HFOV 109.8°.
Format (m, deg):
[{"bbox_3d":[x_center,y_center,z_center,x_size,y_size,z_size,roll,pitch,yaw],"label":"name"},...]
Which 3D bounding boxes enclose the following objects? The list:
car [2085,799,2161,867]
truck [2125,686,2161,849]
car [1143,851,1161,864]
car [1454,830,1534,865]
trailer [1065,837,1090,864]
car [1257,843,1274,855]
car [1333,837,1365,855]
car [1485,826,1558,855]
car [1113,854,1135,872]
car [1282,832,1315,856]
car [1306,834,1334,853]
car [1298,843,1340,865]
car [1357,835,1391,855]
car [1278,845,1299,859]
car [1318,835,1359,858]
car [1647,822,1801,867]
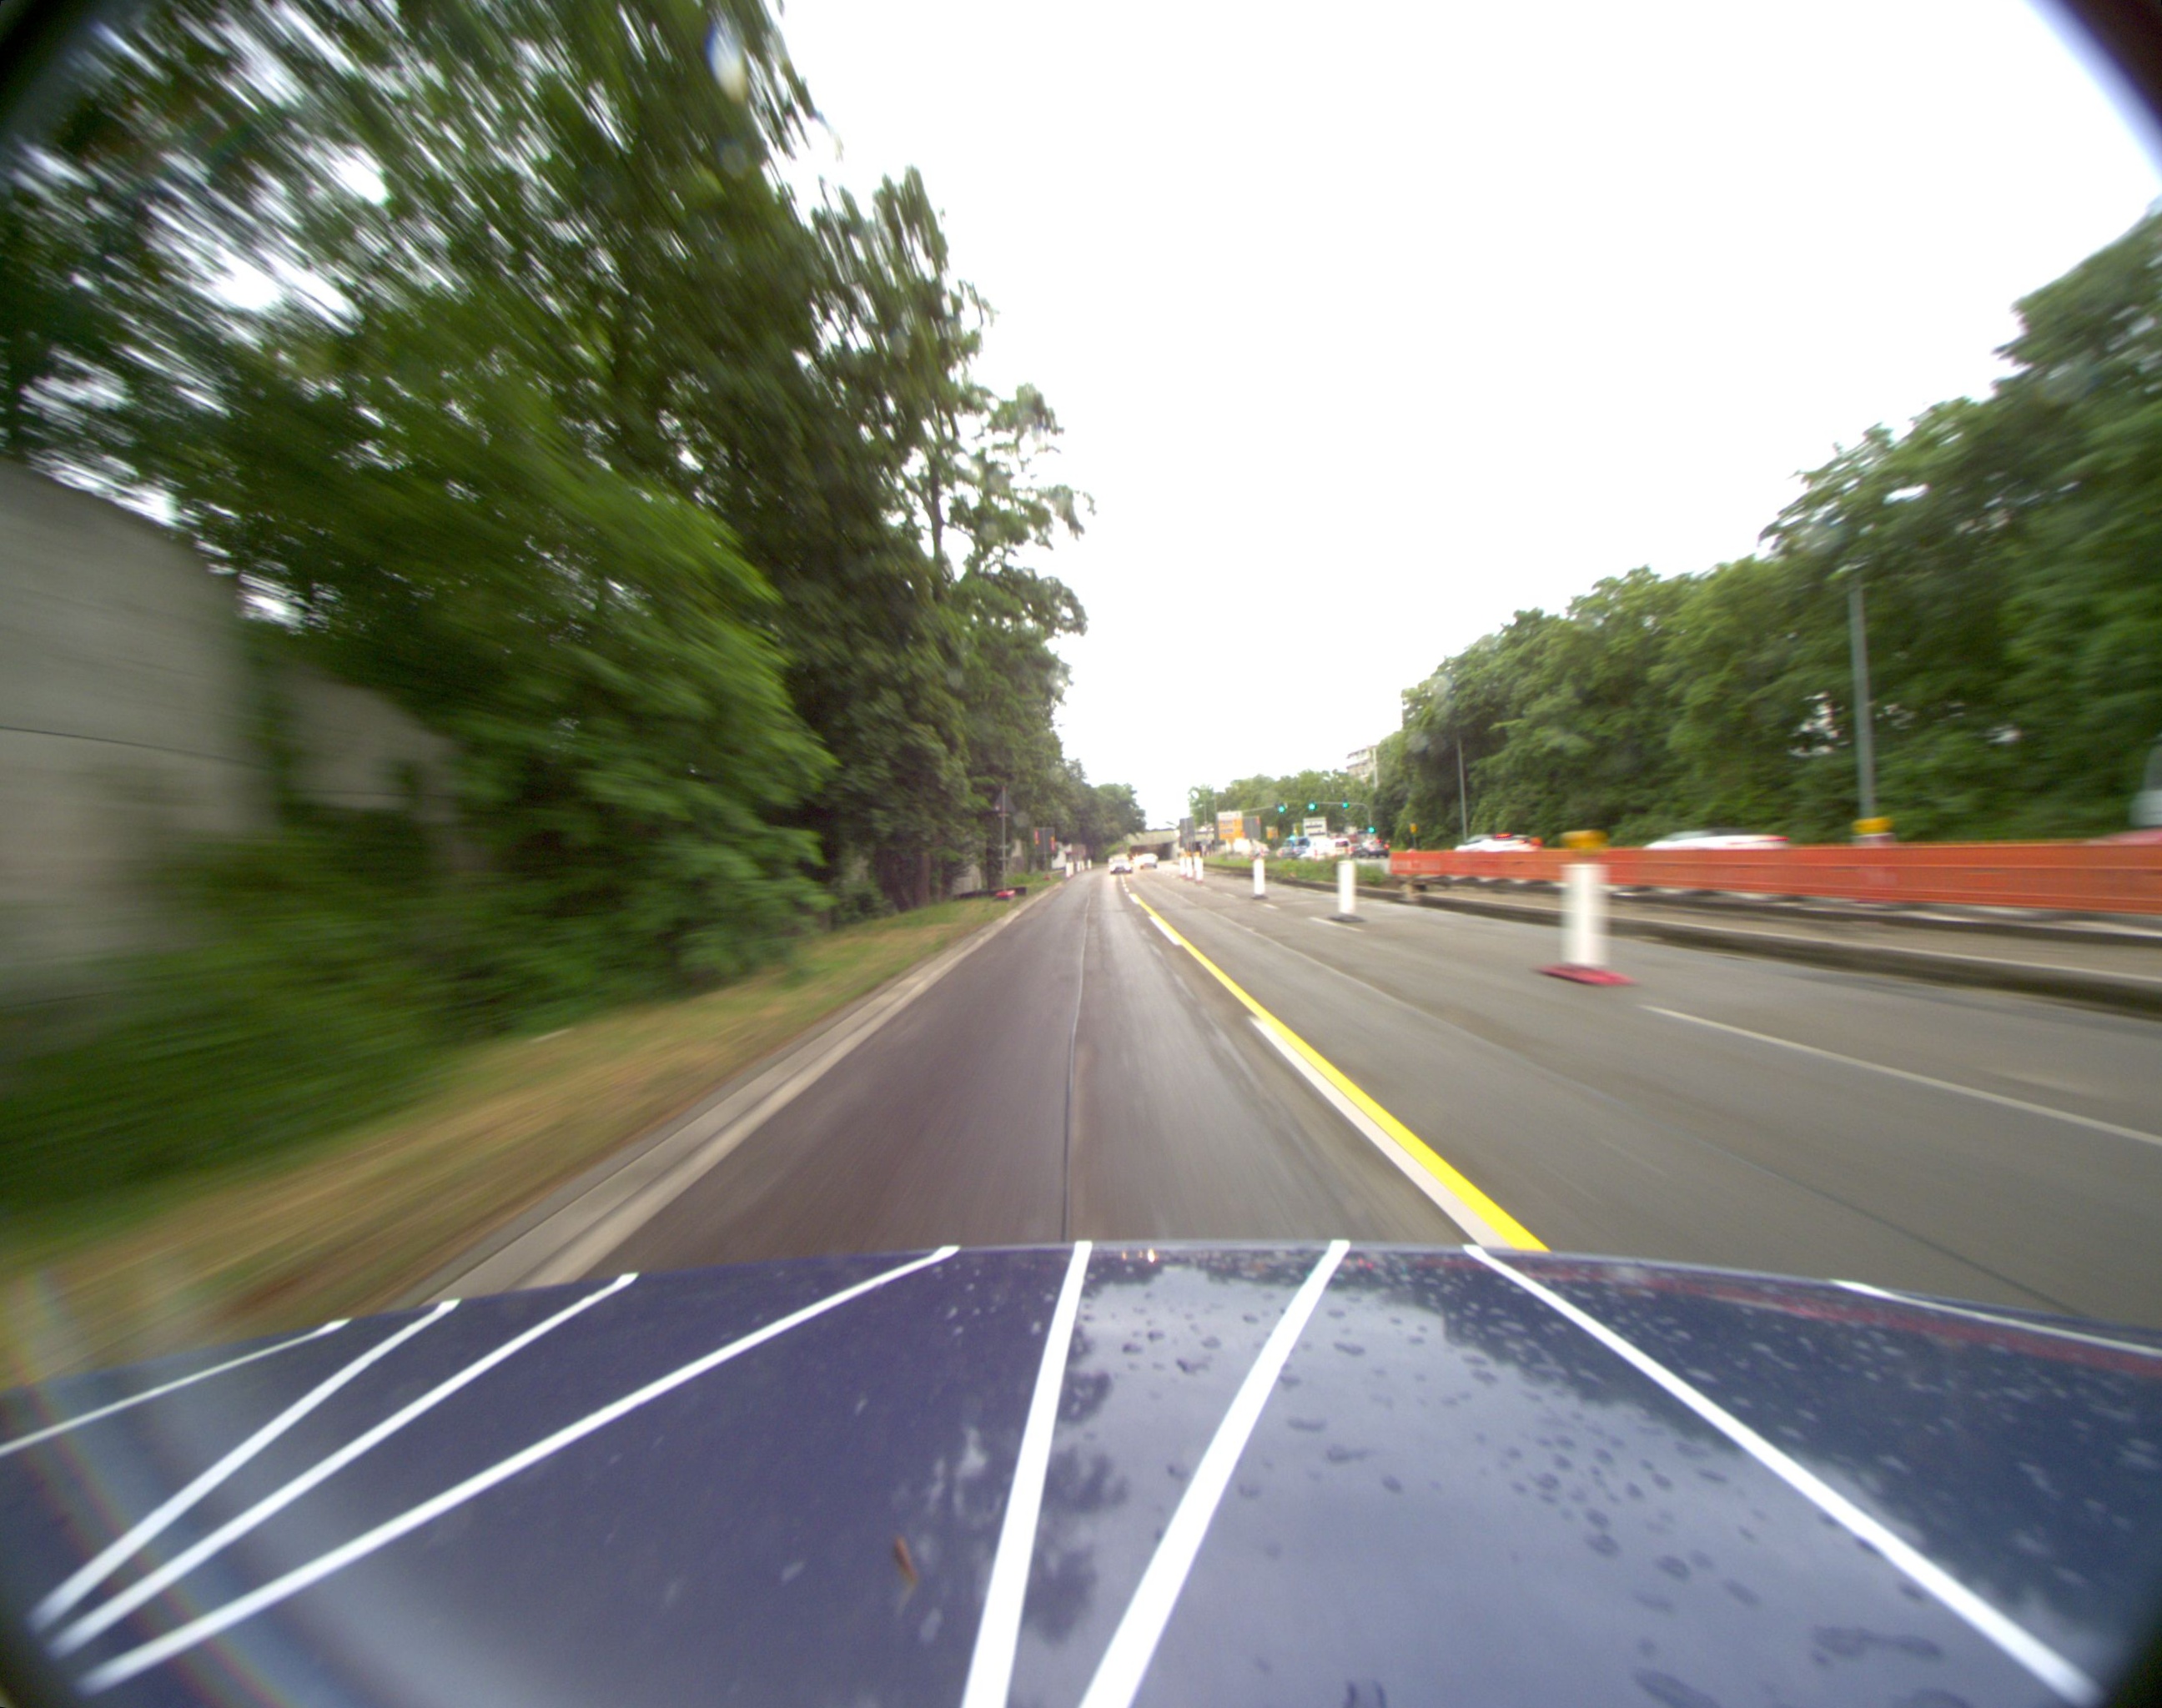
[{"bbox_3d":[19.076,-0.383,11.707,1.609,1.145,4.283,-3,0,2],"label":"car"},{"bbox_3d":[22.009,-1.700,9.979,2.802,3.130,10.148,-3,0,2],"label":"truck"},{"bbox_3d":[7.923,0.408,84.620,1.696,1.300,3.827,-3,0,10],"label":"car"},{"bbox_3d":[20.506,-0.304,37.895,1.839,1.541,4.040,-3,0,2],"label":"car"},{"bbox_3d":[-0.415,-0.527,107.458,2.312,3.568,5.963,-3,1,10],"label":"trailer"},{"bbox_3d":[21.582,-0.628,88.927,1.552,1.193,4.649,-4,0,10],"label":"car"},{"bbox_3d":[25.609,-0.801,72.802,1.797,1.514,4.636,-4,0,6],"label":"car"},{"bbox_3d":[24.344,-0.712,42.151,1.795,1.417,3.896,-3,0,2],"label":"car"},{"bbox_3d":[3.834,0.783,67.810,1.697,1.393,3.826,-3,0,6],"label":"car"},{"bbox_3d":[24.091,-1.017,84.426,2.200,2.376,6.247,-4,-1,5],"label":"car"},{"bbox_3d":[28.035,-1.236,89.403,2.039,1.962,4.992,-4,-1,5],"label":"car"},{"bbox_3d":[18.266,0.003,58.513,1.860,1.477,4.679,-3,0,2],"label":"car"},{"bbox_3d":[25.129,-0.760,65.277,1.675,1.514,3.791,-4,0,6],"label":"car"},{"bbox_3d":[19.924,-0.230,73.060,1.432,1.193,3.301,-4,0,6],"label":"car"},{"bbox_3d":[22.210,-0.646,65.689,1.919,1.771,4.834,-4,0,1],"label":"car"},{"bbox_3d":[22.732,-0.332,27.127,1.814,1.371,4.368,-3,0,2],"label":"car"}]
